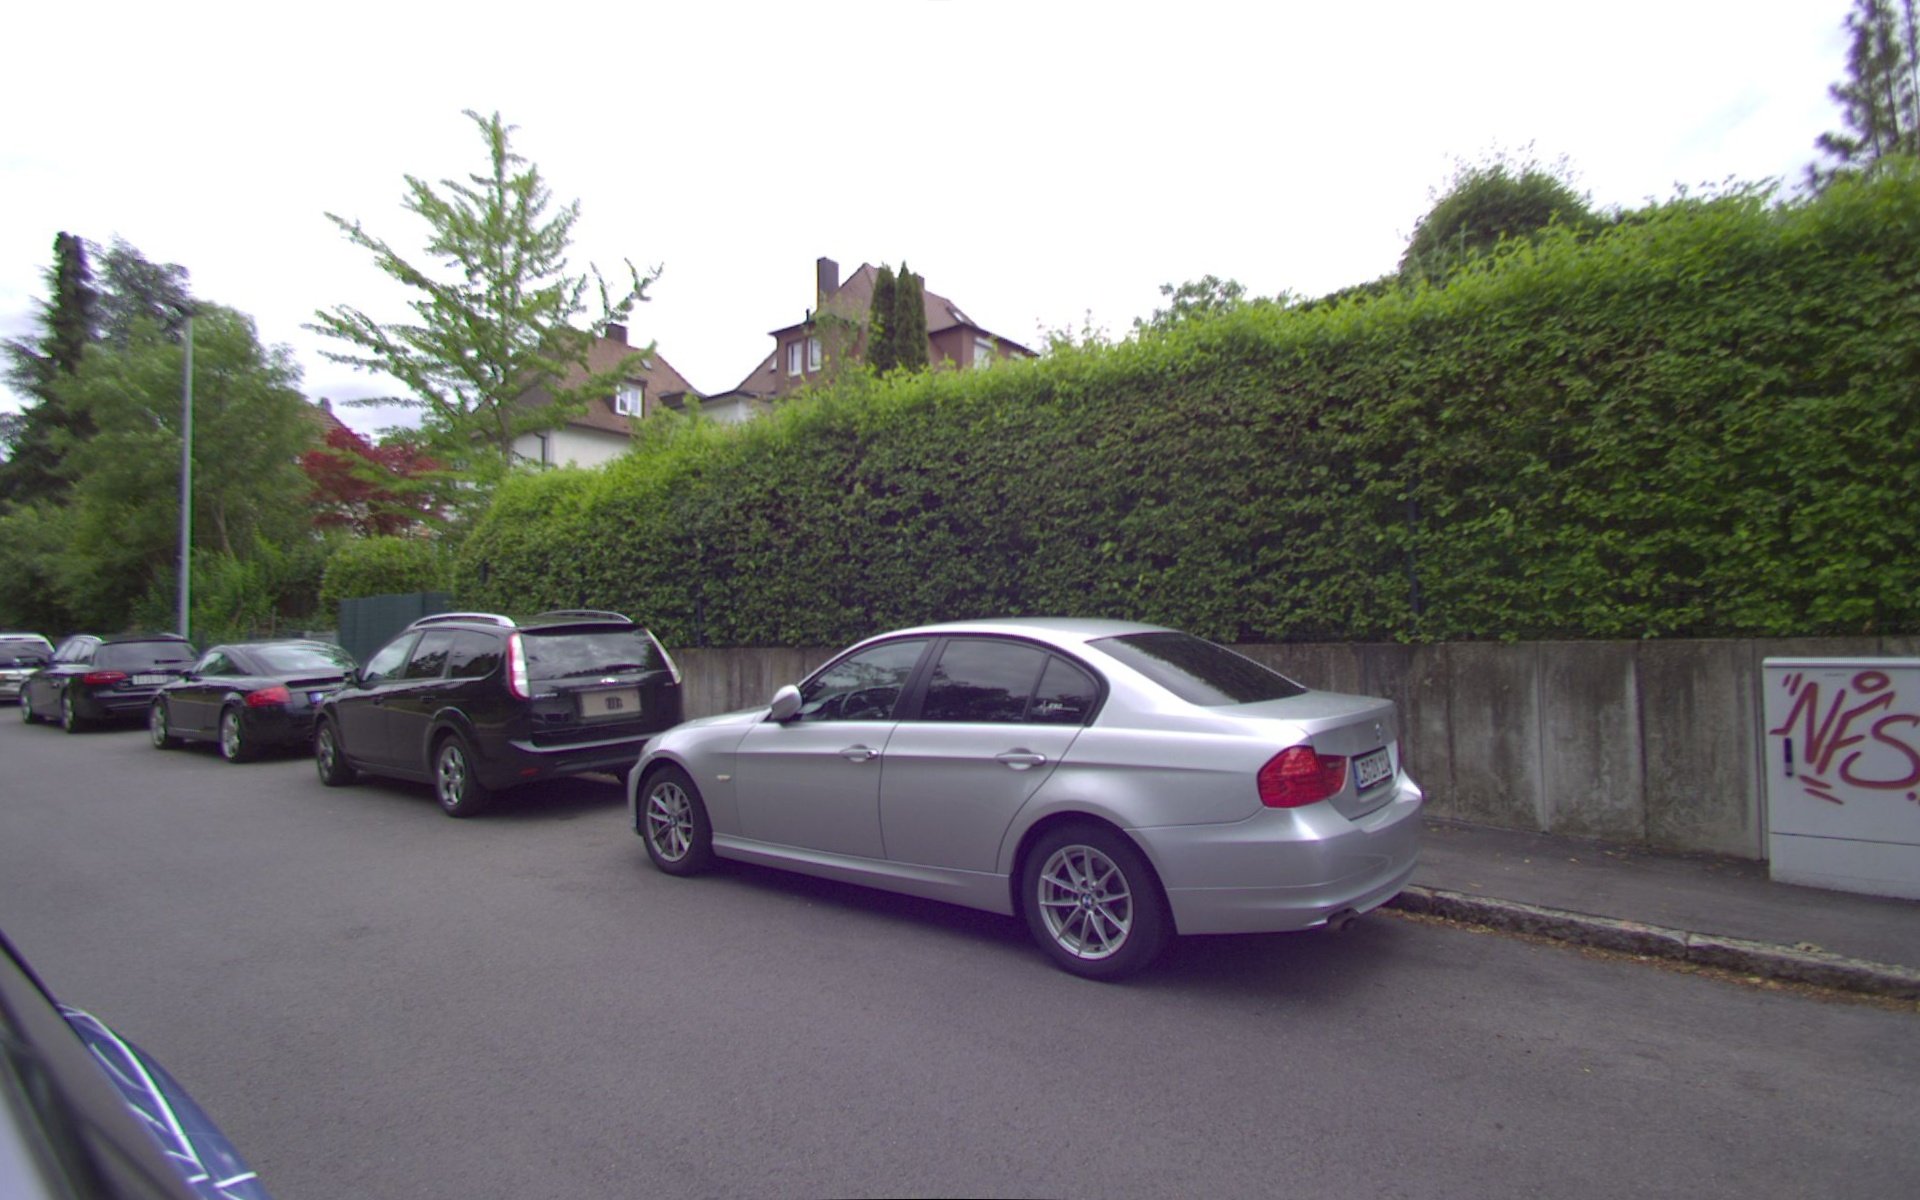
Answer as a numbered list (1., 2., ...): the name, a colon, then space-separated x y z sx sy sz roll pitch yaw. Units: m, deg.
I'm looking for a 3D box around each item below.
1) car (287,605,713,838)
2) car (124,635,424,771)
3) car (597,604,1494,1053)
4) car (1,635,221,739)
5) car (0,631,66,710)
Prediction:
1. car: -4.192 0.869 8.842 4.471 1.545 1.640 -2 -1 40
2. car: -8.419 1.135 12.307 4.098 1.351 1.696 -2 -1 35
3. car: 0.149 0.766 5.195 4.334 1.384 1.758 -2 -1 38
4. car: -13.549 1.284 16.058 4.655 1.395 1.702 -2 -2 37
5. car: -19.988 1.422 20.817 3.581 1.526 1.575 -2 -2 34
